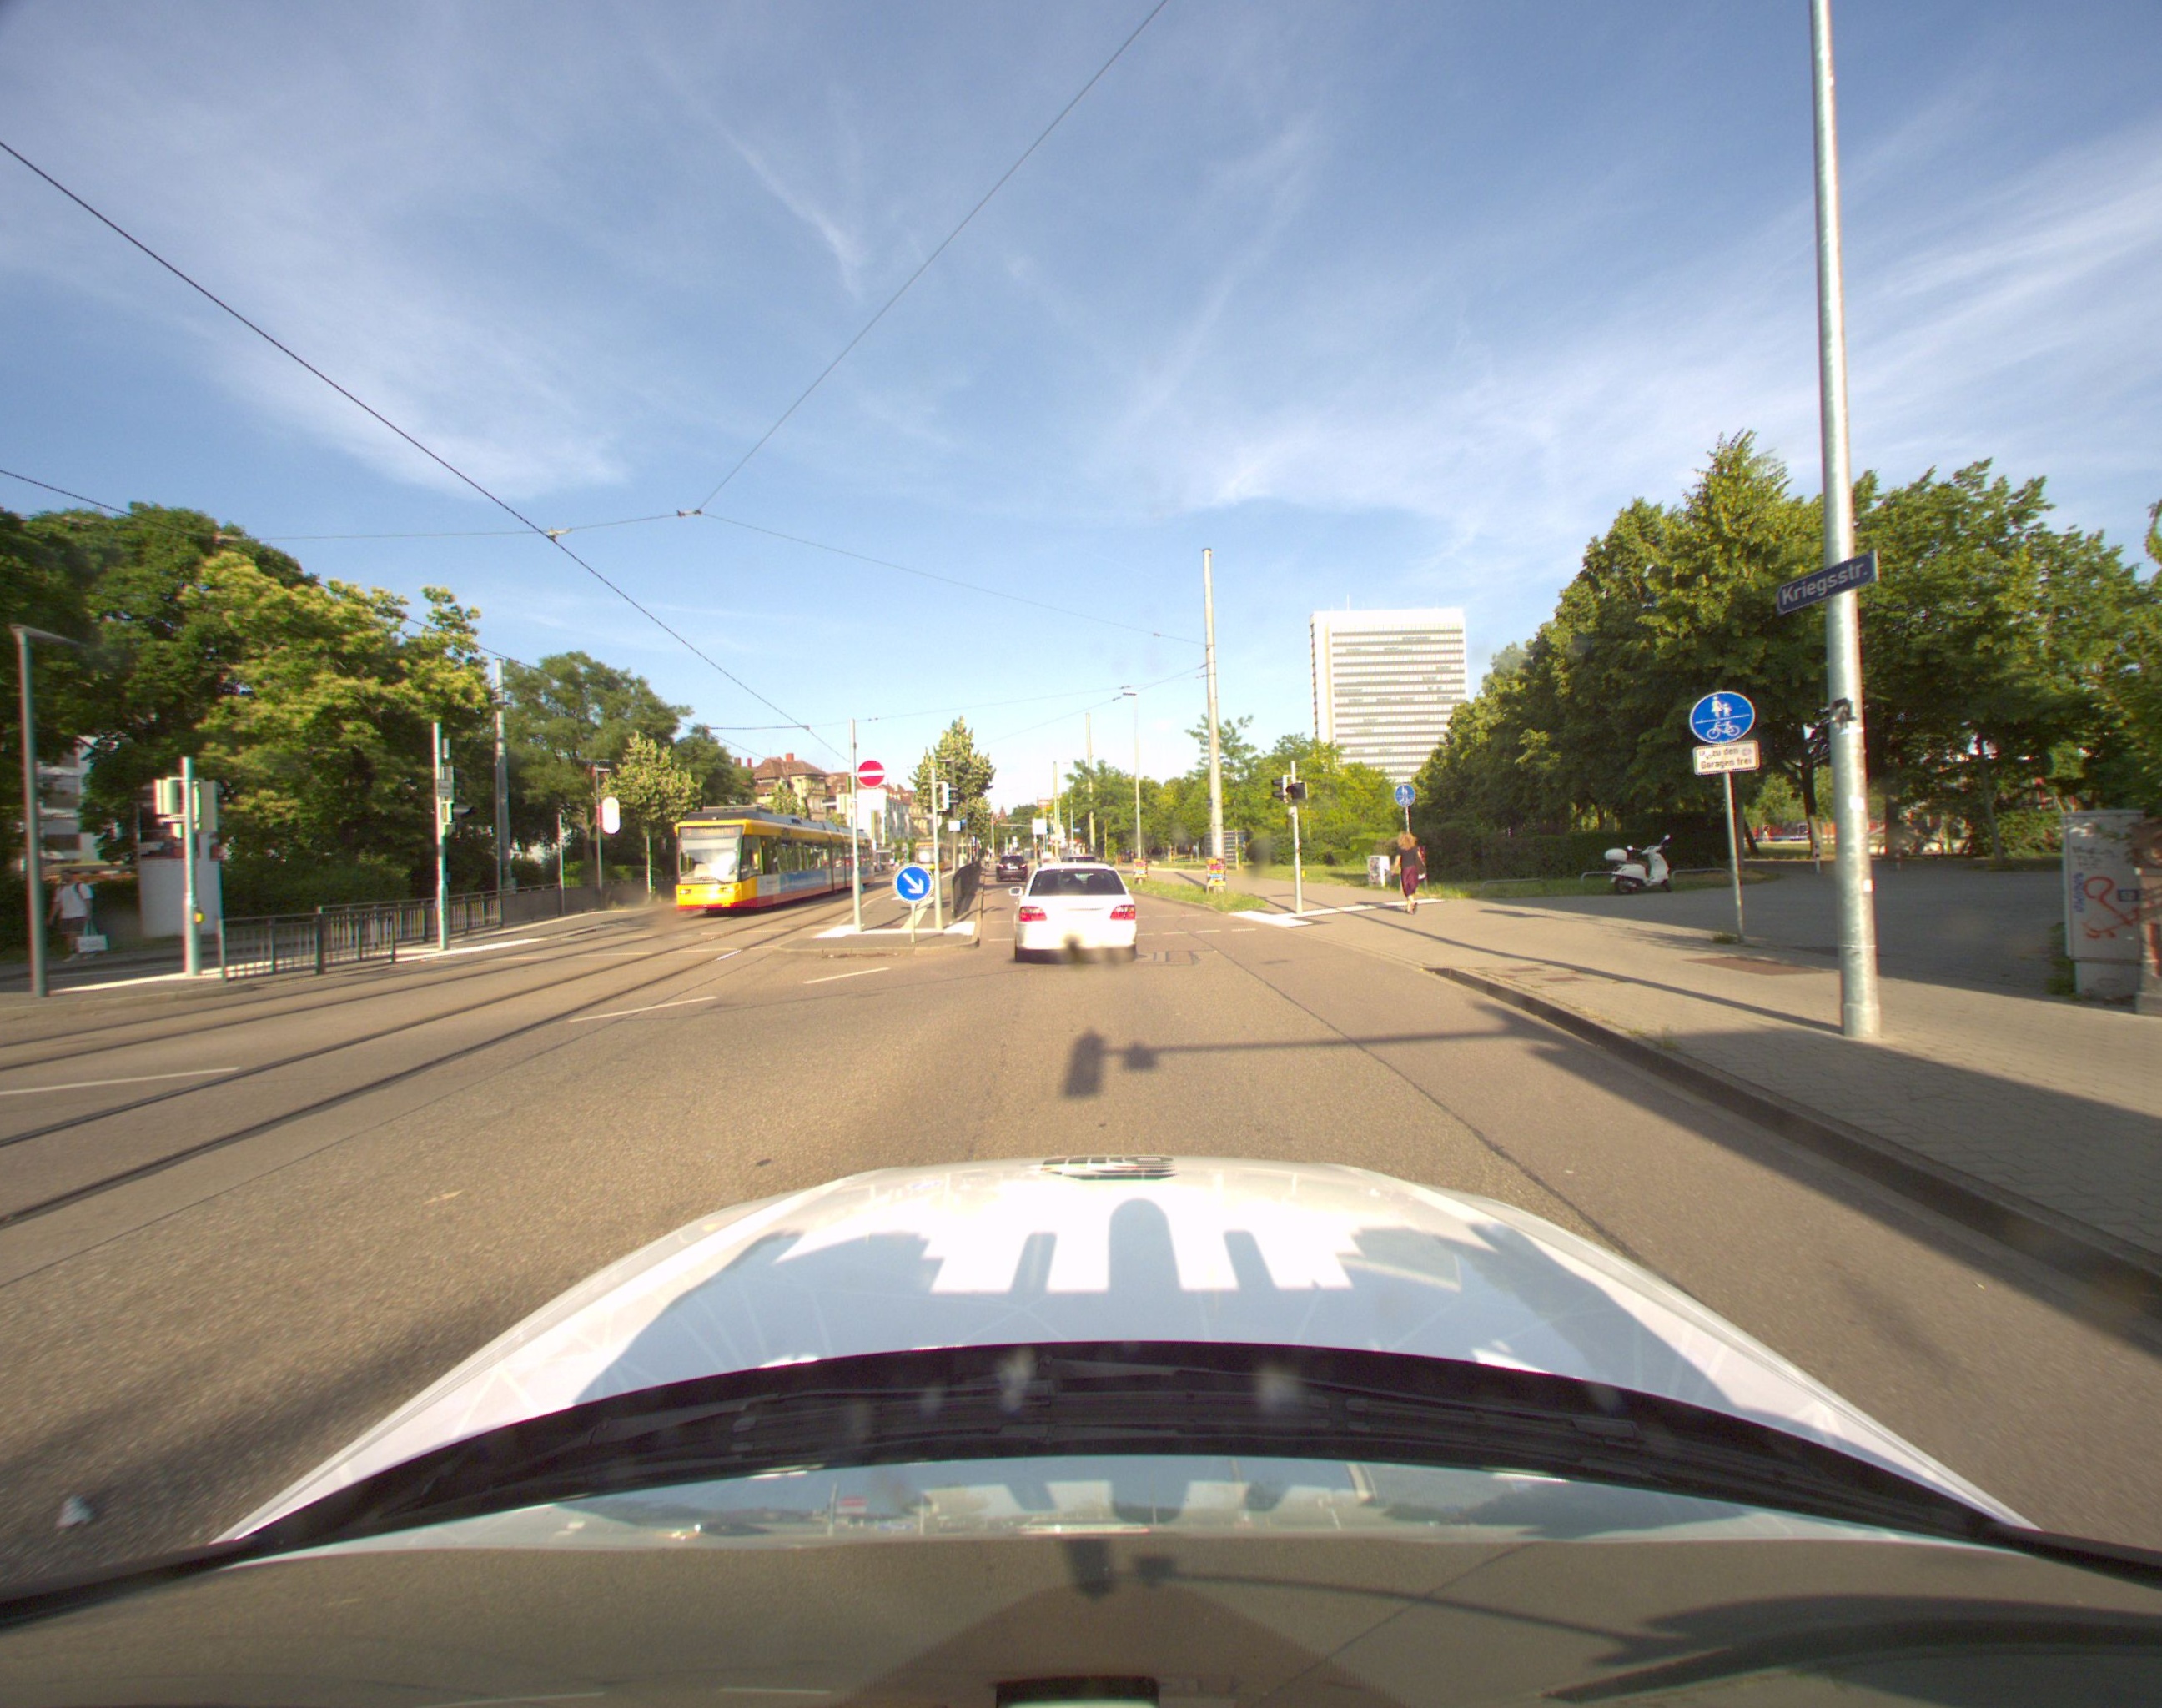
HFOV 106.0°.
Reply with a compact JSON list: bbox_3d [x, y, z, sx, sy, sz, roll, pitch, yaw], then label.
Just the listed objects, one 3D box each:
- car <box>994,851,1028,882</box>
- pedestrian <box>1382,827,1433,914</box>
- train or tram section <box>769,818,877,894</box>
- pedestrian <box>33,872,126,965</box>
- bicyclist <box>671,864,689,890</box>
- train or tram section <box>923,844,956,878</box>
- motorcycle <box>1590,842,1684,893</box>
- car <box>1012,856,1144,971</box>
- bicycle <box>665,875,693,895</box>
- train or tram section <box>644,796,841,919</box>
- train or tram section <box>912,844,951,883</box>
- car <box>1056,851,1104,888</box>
[{"bbox_3d":[-4.019,0.718,47.389,1.783,1.690,3.996,-1,0,-3],"label":"car"},{"bbox_3d":[6.660,0.336,16.637,0.614,1.692,0.548,-7,0,-3],"label":"pedestrian"},{"bbox_3d":[-13.715,0.080,44.792,3.160,3.479,14.432,-1,0,-8],"label":"train or tram section"},{"bbox_3d":[-21.434,1.350,17.448,1.006,1.909,0.703,-1,0,-20],"label":"pedestrian"},{"bbox_3d":[-22.373,1.274,45.393,0.649,1.413,0.716,-1,0,-4],"label":"bicyclist"},{"bbox_3d":[-15.776,0.744,91.684,2.846,3.479,13.169,-1,0,-7],"label":"train or tram section"},{"bbox_3d":[13.432,0.323,19.681,1.998,1.159,0.705,-1,0,-13],"label":"motorcycle"},{"bbox_3d":[-0.139,0.834,12.981,1.754,1.503,3.995,-1,-1,-3],"label":"car"},{"bbox_3d":[-22.437,1.708,45.497,0.541,1.018,2.247,-1,0,-3],"label":"bicycle"},{"bbox_3d":[-11.867,0.078,30.713,3.160,3.479,14.493,-1,0,-8],"label":"train or tram section"},{"bbox_3d":[-14.324,0.816,78.972,2.846,3.479,13.169,-1,0,-7],"label":"train or tram section"},{"bbox_3d":[-0.111,0.695,38.203,2.028,1.605,3.996,-1,0,-3],"label":"car"}]
